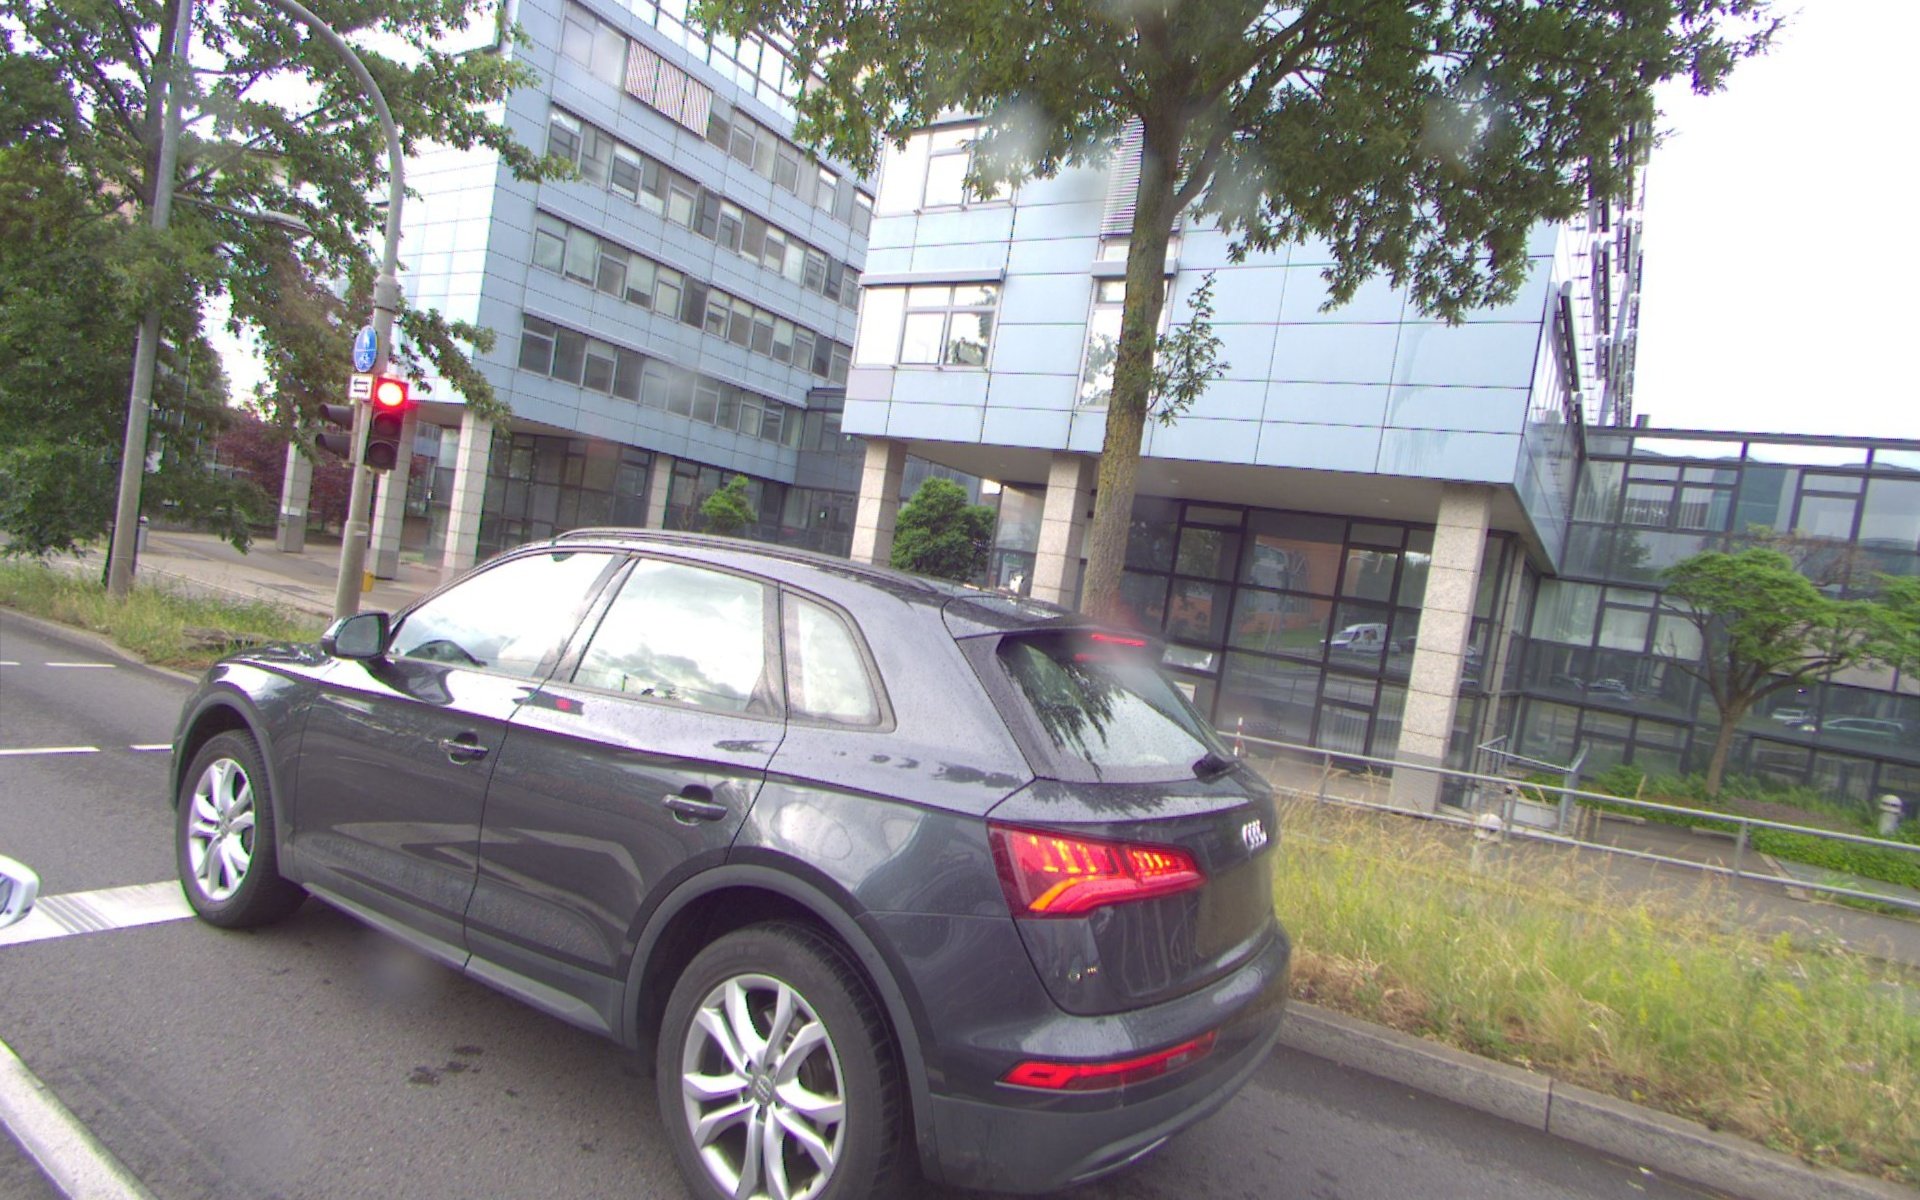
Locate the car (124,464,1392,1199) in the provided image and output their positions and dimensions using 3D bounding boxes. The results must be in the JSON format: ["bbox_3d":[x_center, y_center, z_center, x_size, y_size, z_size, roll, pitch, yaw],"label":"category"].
[{"bbox_3d":[-0.985,0.565,3.721,4.396,1.632,1.821,7,-1,32],"label":"car"}]
